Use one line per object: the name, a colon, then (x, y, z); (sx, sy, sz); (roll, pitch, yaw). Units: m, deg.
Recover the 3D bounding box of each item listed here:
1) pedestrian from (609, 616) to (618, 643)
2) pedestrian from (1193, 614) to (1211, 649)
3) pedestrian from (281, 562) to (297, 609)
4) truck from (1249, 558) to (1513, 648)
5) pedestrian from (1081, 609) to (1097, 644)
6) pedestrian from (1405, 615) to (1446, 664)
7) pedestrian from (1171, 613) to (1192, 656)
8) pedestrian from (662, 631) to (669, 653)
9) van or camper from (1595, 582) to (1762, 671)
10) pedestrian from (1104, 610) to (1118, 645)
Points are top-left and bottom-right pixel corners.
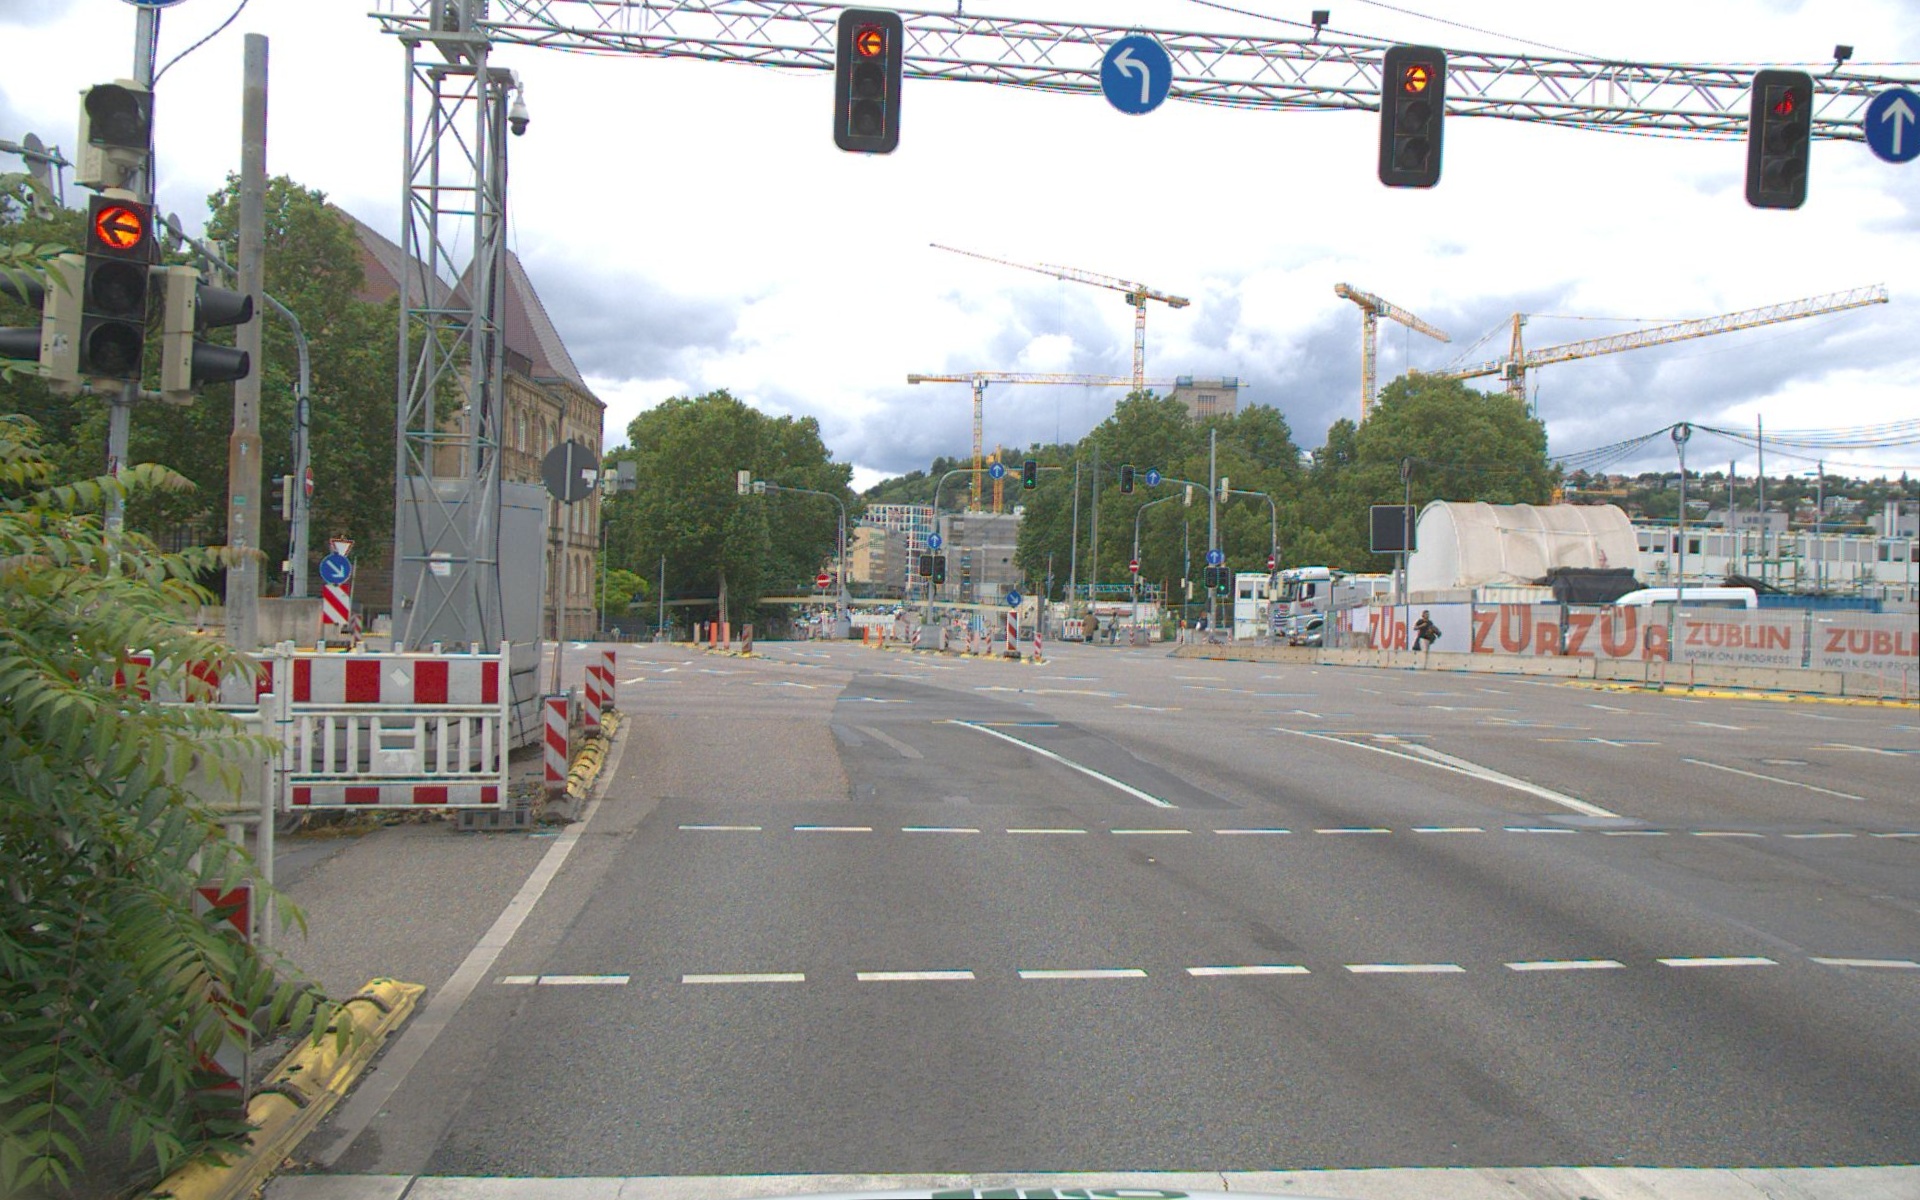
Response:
pedestrian: (-27.111, 2.289, 129.471); (0.513, 2.049, 0.566); (1, 0, -1)
pedestrian: (12.033, 1.579, 82.234); (0.609, 1.718, 0.710); (2, 0, 28)
pedestrian: (-29.567, -0.623, 72.889); (0.523, 2.049, 0.421); (2, 0, -44)
truck: (20.992, 0.168, 82.309); (12.837, 4.111, 3.927); (1, 0, -21)
pedestrian: (6.309, 1.292, 80.966); (0.714, 1.718, 0.677); (2, 0, -1)
pedestrian: (13.978, 1.183, 49.660); (0.785, 1.402, 0.899); (2, 0, -20)
pedestrian: (9.061, 1.418, 67.695); (0.714, 1.718, 0.677); (2, 0, -1)
pedestrian: (-27.877, 3.946, 156.741); (0.513, 2.049, 0.566); (1, 0, -1)
van or camper: (20.729, 0.743, 47.900); (4.123, 2.398, 2.002); (1, 0, 14)
pedestrian: (7.427, 1.348, 81.379); (0.555, 1.718, 0.471); (2, 0, -1)
